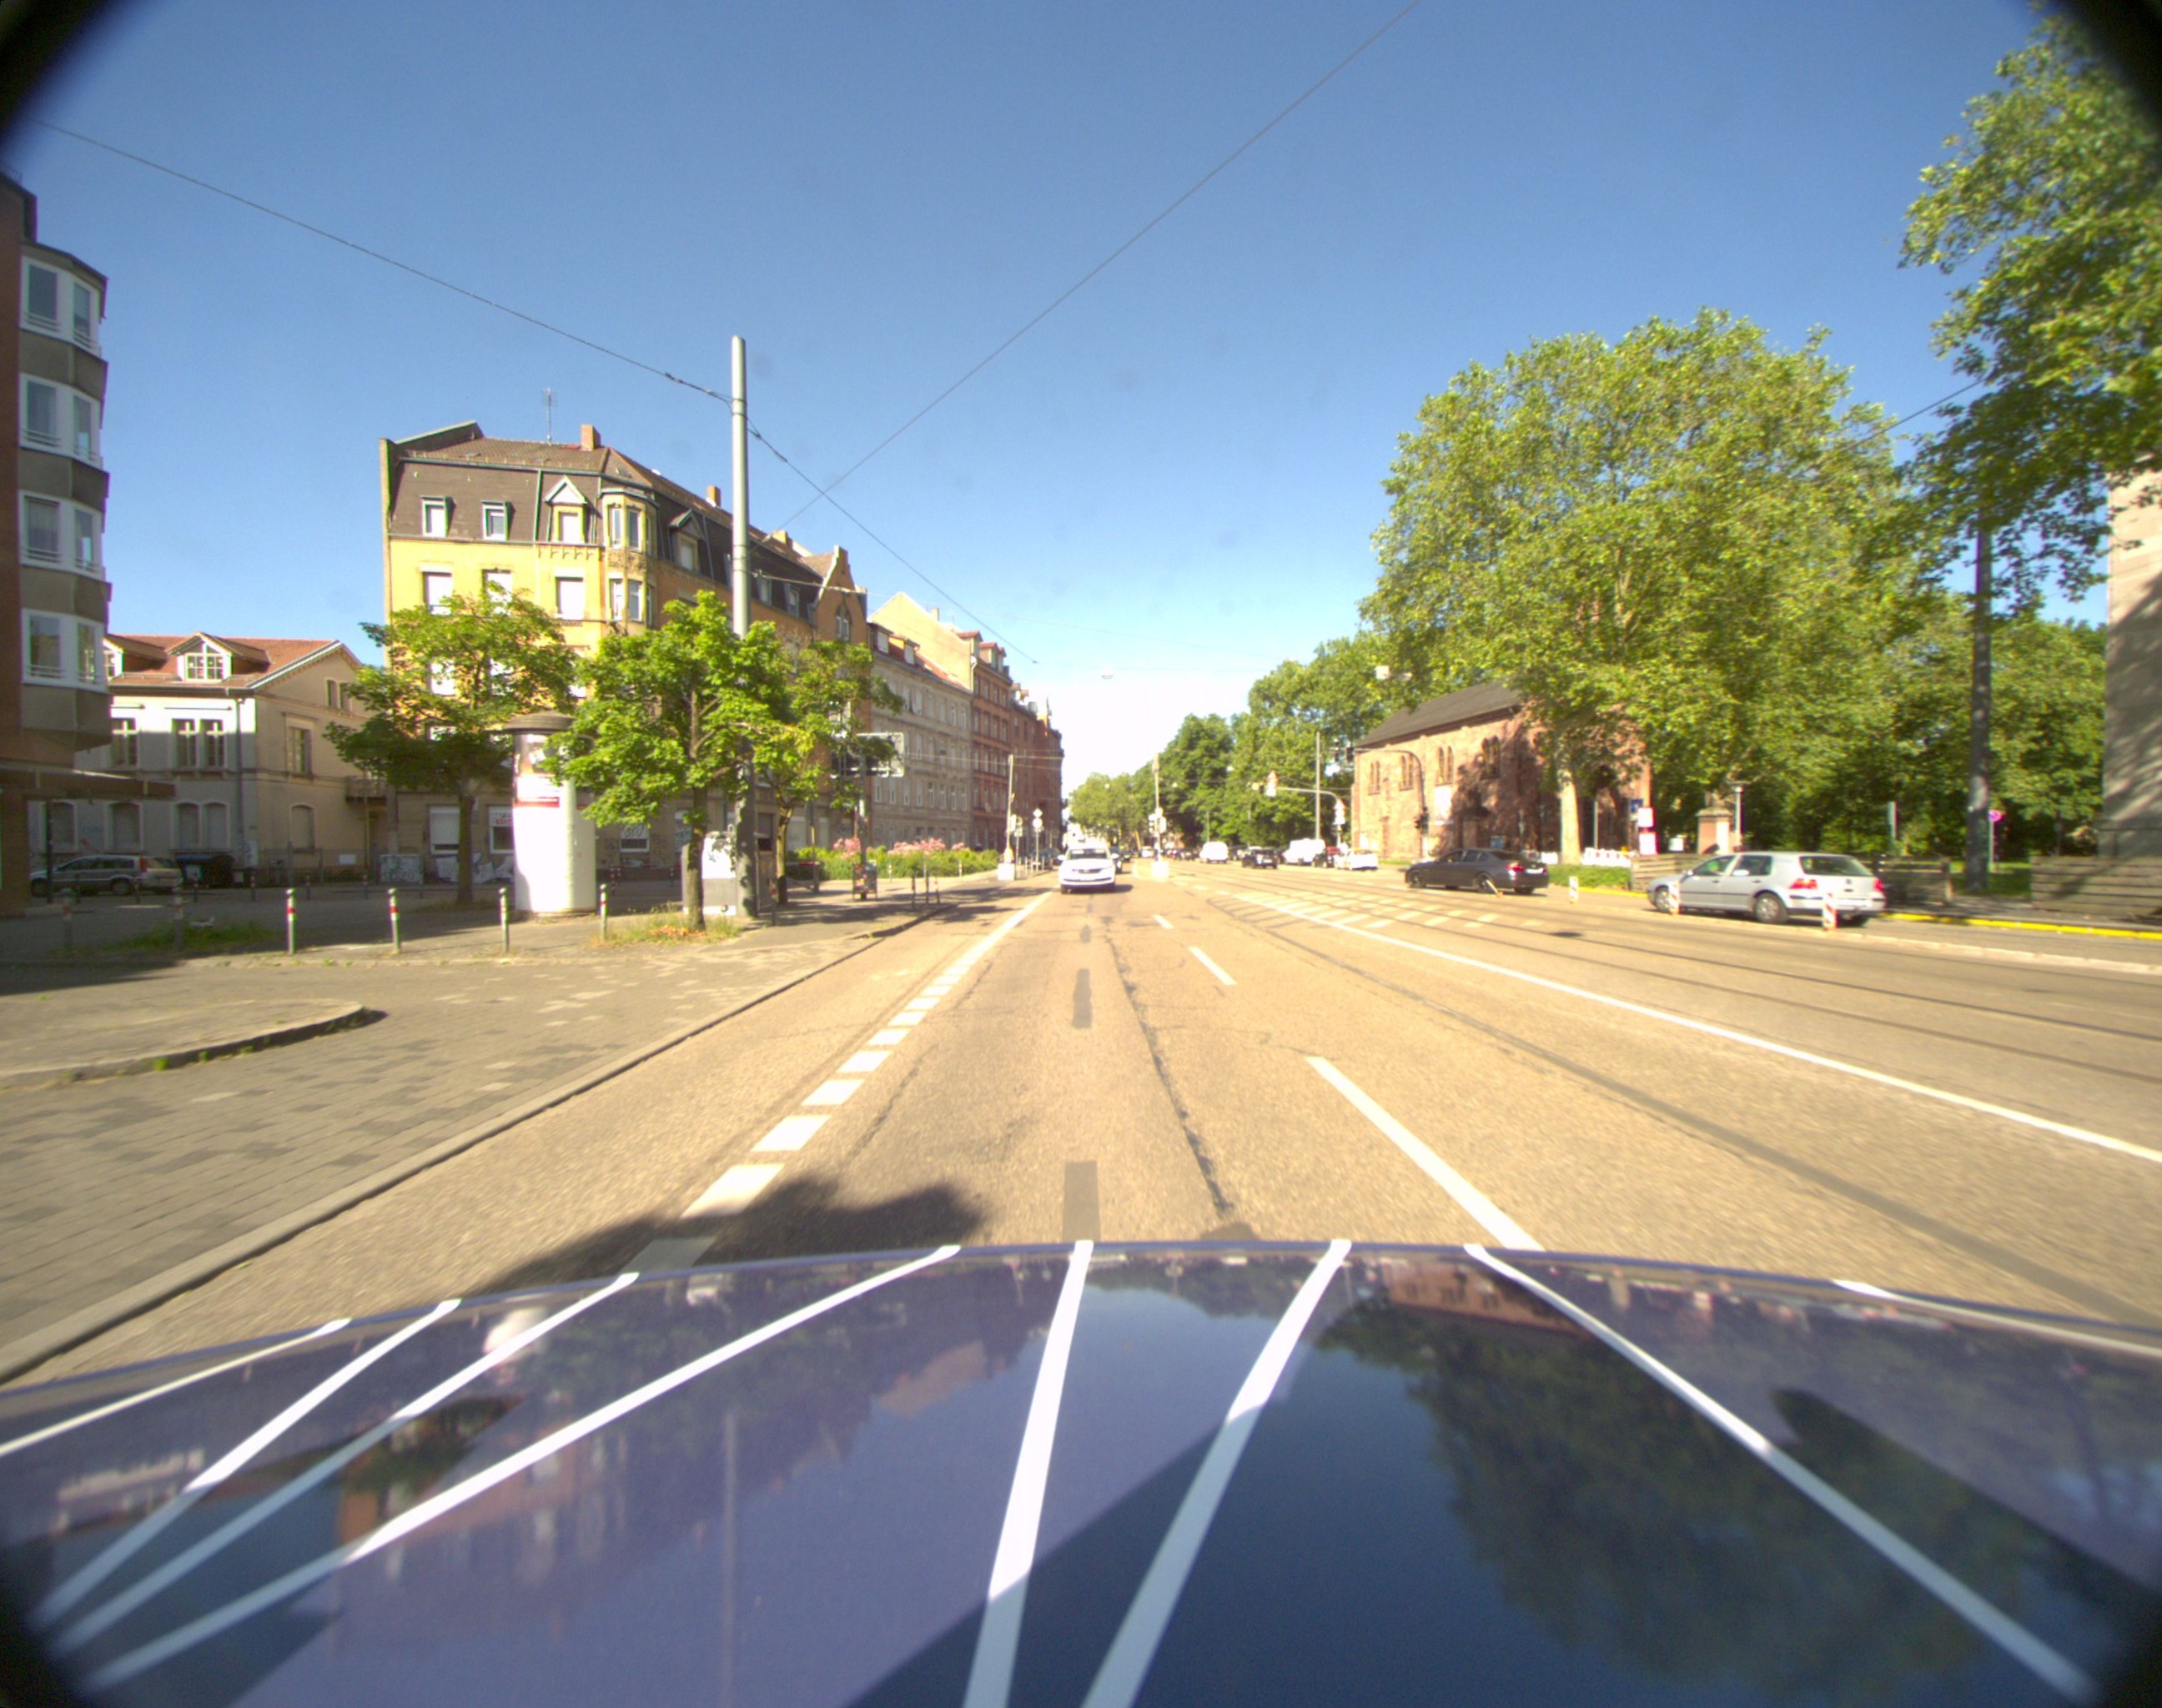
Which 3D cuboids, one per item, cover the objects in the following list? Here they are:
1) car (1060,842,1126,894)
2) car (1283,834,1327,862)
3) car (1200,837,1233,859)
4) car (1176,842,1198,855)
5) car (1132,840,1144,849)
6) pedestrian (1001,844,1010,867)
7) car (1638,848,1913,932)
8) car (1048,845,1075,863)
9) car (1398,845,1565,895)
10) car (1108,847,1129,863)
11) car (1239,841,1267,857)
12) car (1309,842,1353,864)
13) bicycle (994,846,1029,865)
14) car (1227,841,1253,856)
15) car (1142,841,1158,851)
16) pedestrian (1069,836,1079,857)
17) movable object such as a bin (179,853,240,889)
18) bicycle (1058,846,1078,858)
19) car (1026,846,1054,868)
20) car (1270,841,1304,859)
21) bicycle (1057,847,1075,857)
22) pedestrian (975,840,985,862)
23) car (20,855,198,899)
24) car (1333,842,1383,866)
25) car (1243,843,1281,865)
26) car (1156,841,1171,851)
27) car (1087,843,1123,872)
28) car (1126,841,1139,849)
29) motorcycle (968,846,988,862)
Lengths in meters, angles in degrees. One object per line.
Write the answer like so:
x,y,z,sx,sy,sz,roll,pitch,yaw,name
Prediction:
0.512,0.434,26.636,1.800,1.627,4.395,0,1,8,car
17.692,-0.497,60.152,1.921,2.085,4.590,0,1,-3,car
12.306,-0.594,69.276,2.066,1.880,4.516,1,1,0,car
11.832,-0.618,84.951,1.797,1.421,4.375,0,1,-1,car
10.568,-1.790,140.295,1.795,1.543,4.305,0,1,-1,car
-5.363,0.104,54.064,0.551,1.667,0.687,-1,2,-11,pedestrian
13.916,0.622,15.645,1.834,1.445,4.170,1,1,0,car
-1.731,-0.064,68.708,1.763,1.517,4.474,0,1,7,car
13.088,0.461,25.257,1.837,1.445,4.951,0,1,-19,car
3.729,0.063,74.805,1.889,1.419,4.377,0,1,5,car
17.261,-0.507,76.403,1.795,1.543,4.305,0,1,-1,car
18.098,-0.112,55.156,1.795,1.543,3.859,0,1,-2,car
-5.695,0.107,62.860,1.968,1.408,6.827,0,1,3,bicycle
16.909,-0.589,80.828,1.795,1.543,4.305,0,1,-1,car
9.778,-1.124,108.296,1.797,1.421,4.375,0,1,-1,car
-0.581,-0.627,64.226,0.735,1.784,0.884,0,1,2,pedestrian
-35.818,0.695,31.244,1.218,1.436,1.034,-1,1,-6,movable object such as a bin
-1.391,-0.216,80.084,1.917,1.131,0.845,1,2,14,bicycle
-2.913,0.209,54.986,1.683,1.475,3.999,0,1,1,car
17.732,-0.349,65.578,1.795,1.543,3.859,0,1,-2,car
-1.588,-0.195,81.817,1.800,1.053,0.655,1,2,11,bicycle
-8.578,-0.289,64.592,0.822,1.851,0.703,-1,1,-11,pedestrian
-36.253,0.830,28.434,4.000,1.535,1.634,-1,1,-10,car
18.202,0.005,50.136,1.780,1.565,3.676,0,0,-4,car
12.763,-0.011,53.730,1.620,1.404,4.087,-2,1,-1,car
13.037,-1.252,119.911,1.795,1.543,4.305,0,1,-1,car
1.387,0.206,45.124,1.999,1.607,4.264,-1,-1,0,car
8.778,-1.546,128.936,1.797,1.421,4.375,0,1,-1,car
-8.731,-0.001,64.569,1.632,1.308,0.716,-1,1,-11,motorcycle
